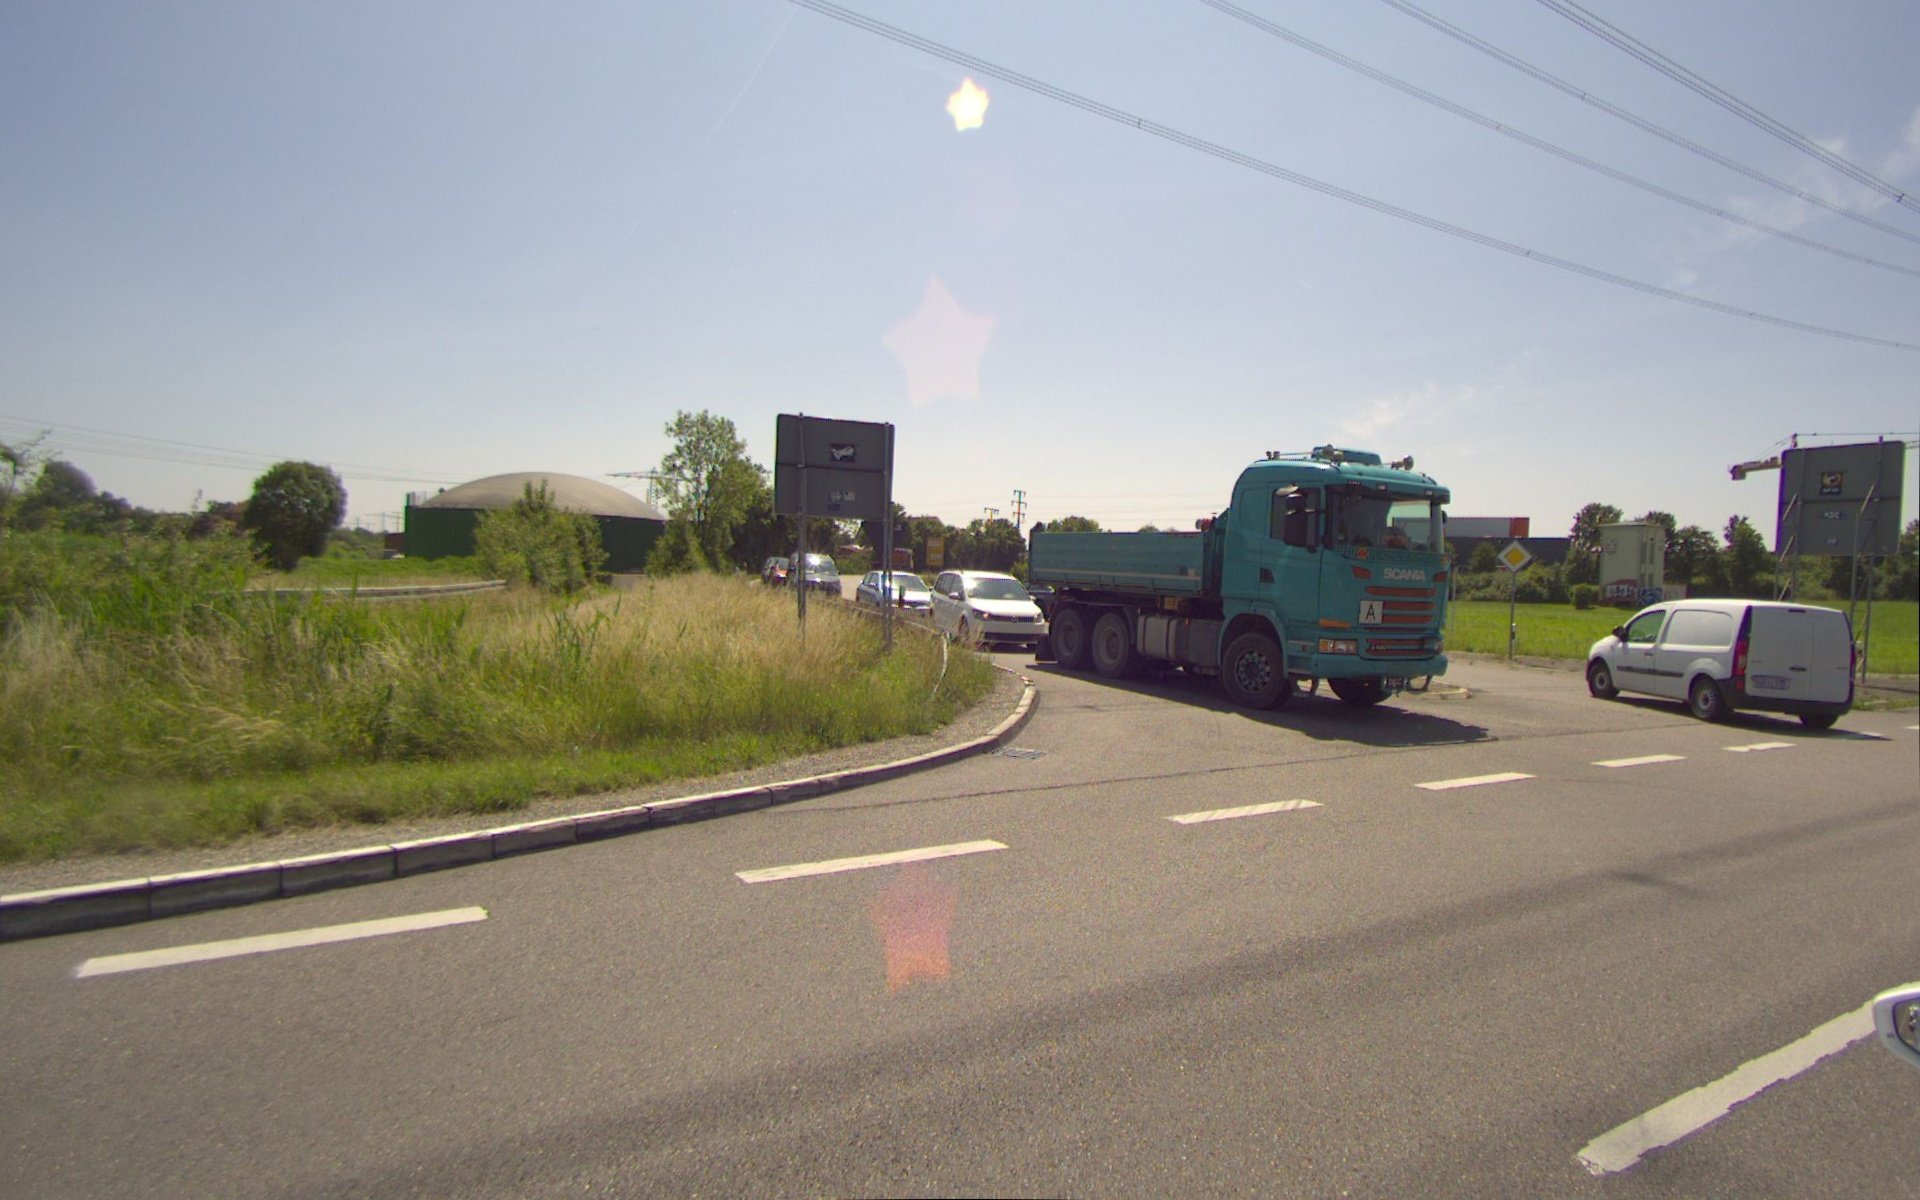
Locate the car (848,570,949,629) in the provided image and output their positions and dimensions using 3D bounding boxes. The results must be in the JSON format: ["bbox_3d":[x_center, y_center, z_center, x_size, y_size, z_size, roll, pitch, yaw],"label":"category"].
[{"bbox_3d":[-1.837,-0.073,28.607,1.692,1.490,4.425,2,1,-20],"label":"car"}]

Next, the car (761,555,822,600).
[{"bbox_3d":[-7.633,-1.027,45.177,1.887,1.874,4.462,2,2,-20],"label":"car"}]

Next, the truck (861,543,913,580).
[{"bbox_3d":[-7.293,-3.835,102.027,2.772,3.332,9.705,1,1,11],"label":"truck"}]

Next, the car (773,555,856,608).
[{"bbox_3d":[-5.696,-0.761,38.729,2.058,1.893,4.925,0,2,-22],"label":"car"}]

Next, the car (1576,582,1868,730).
[{"bbox_3d":[11.805,0.788,15.952,1.796,1.997,4.002,1,0,5],"label":"car"}]

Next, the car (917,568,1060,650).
[{"bbox_3d":[0.506,0.129,22.869,1.936,1.634,4.539,2,2,-16],"label":"car"}]

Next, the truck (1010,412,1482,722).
[{"bbox_3d":[3.964,-0.571,16.357,2.467,3.785,7.870,1,2,-28],"label":"truck"}]
